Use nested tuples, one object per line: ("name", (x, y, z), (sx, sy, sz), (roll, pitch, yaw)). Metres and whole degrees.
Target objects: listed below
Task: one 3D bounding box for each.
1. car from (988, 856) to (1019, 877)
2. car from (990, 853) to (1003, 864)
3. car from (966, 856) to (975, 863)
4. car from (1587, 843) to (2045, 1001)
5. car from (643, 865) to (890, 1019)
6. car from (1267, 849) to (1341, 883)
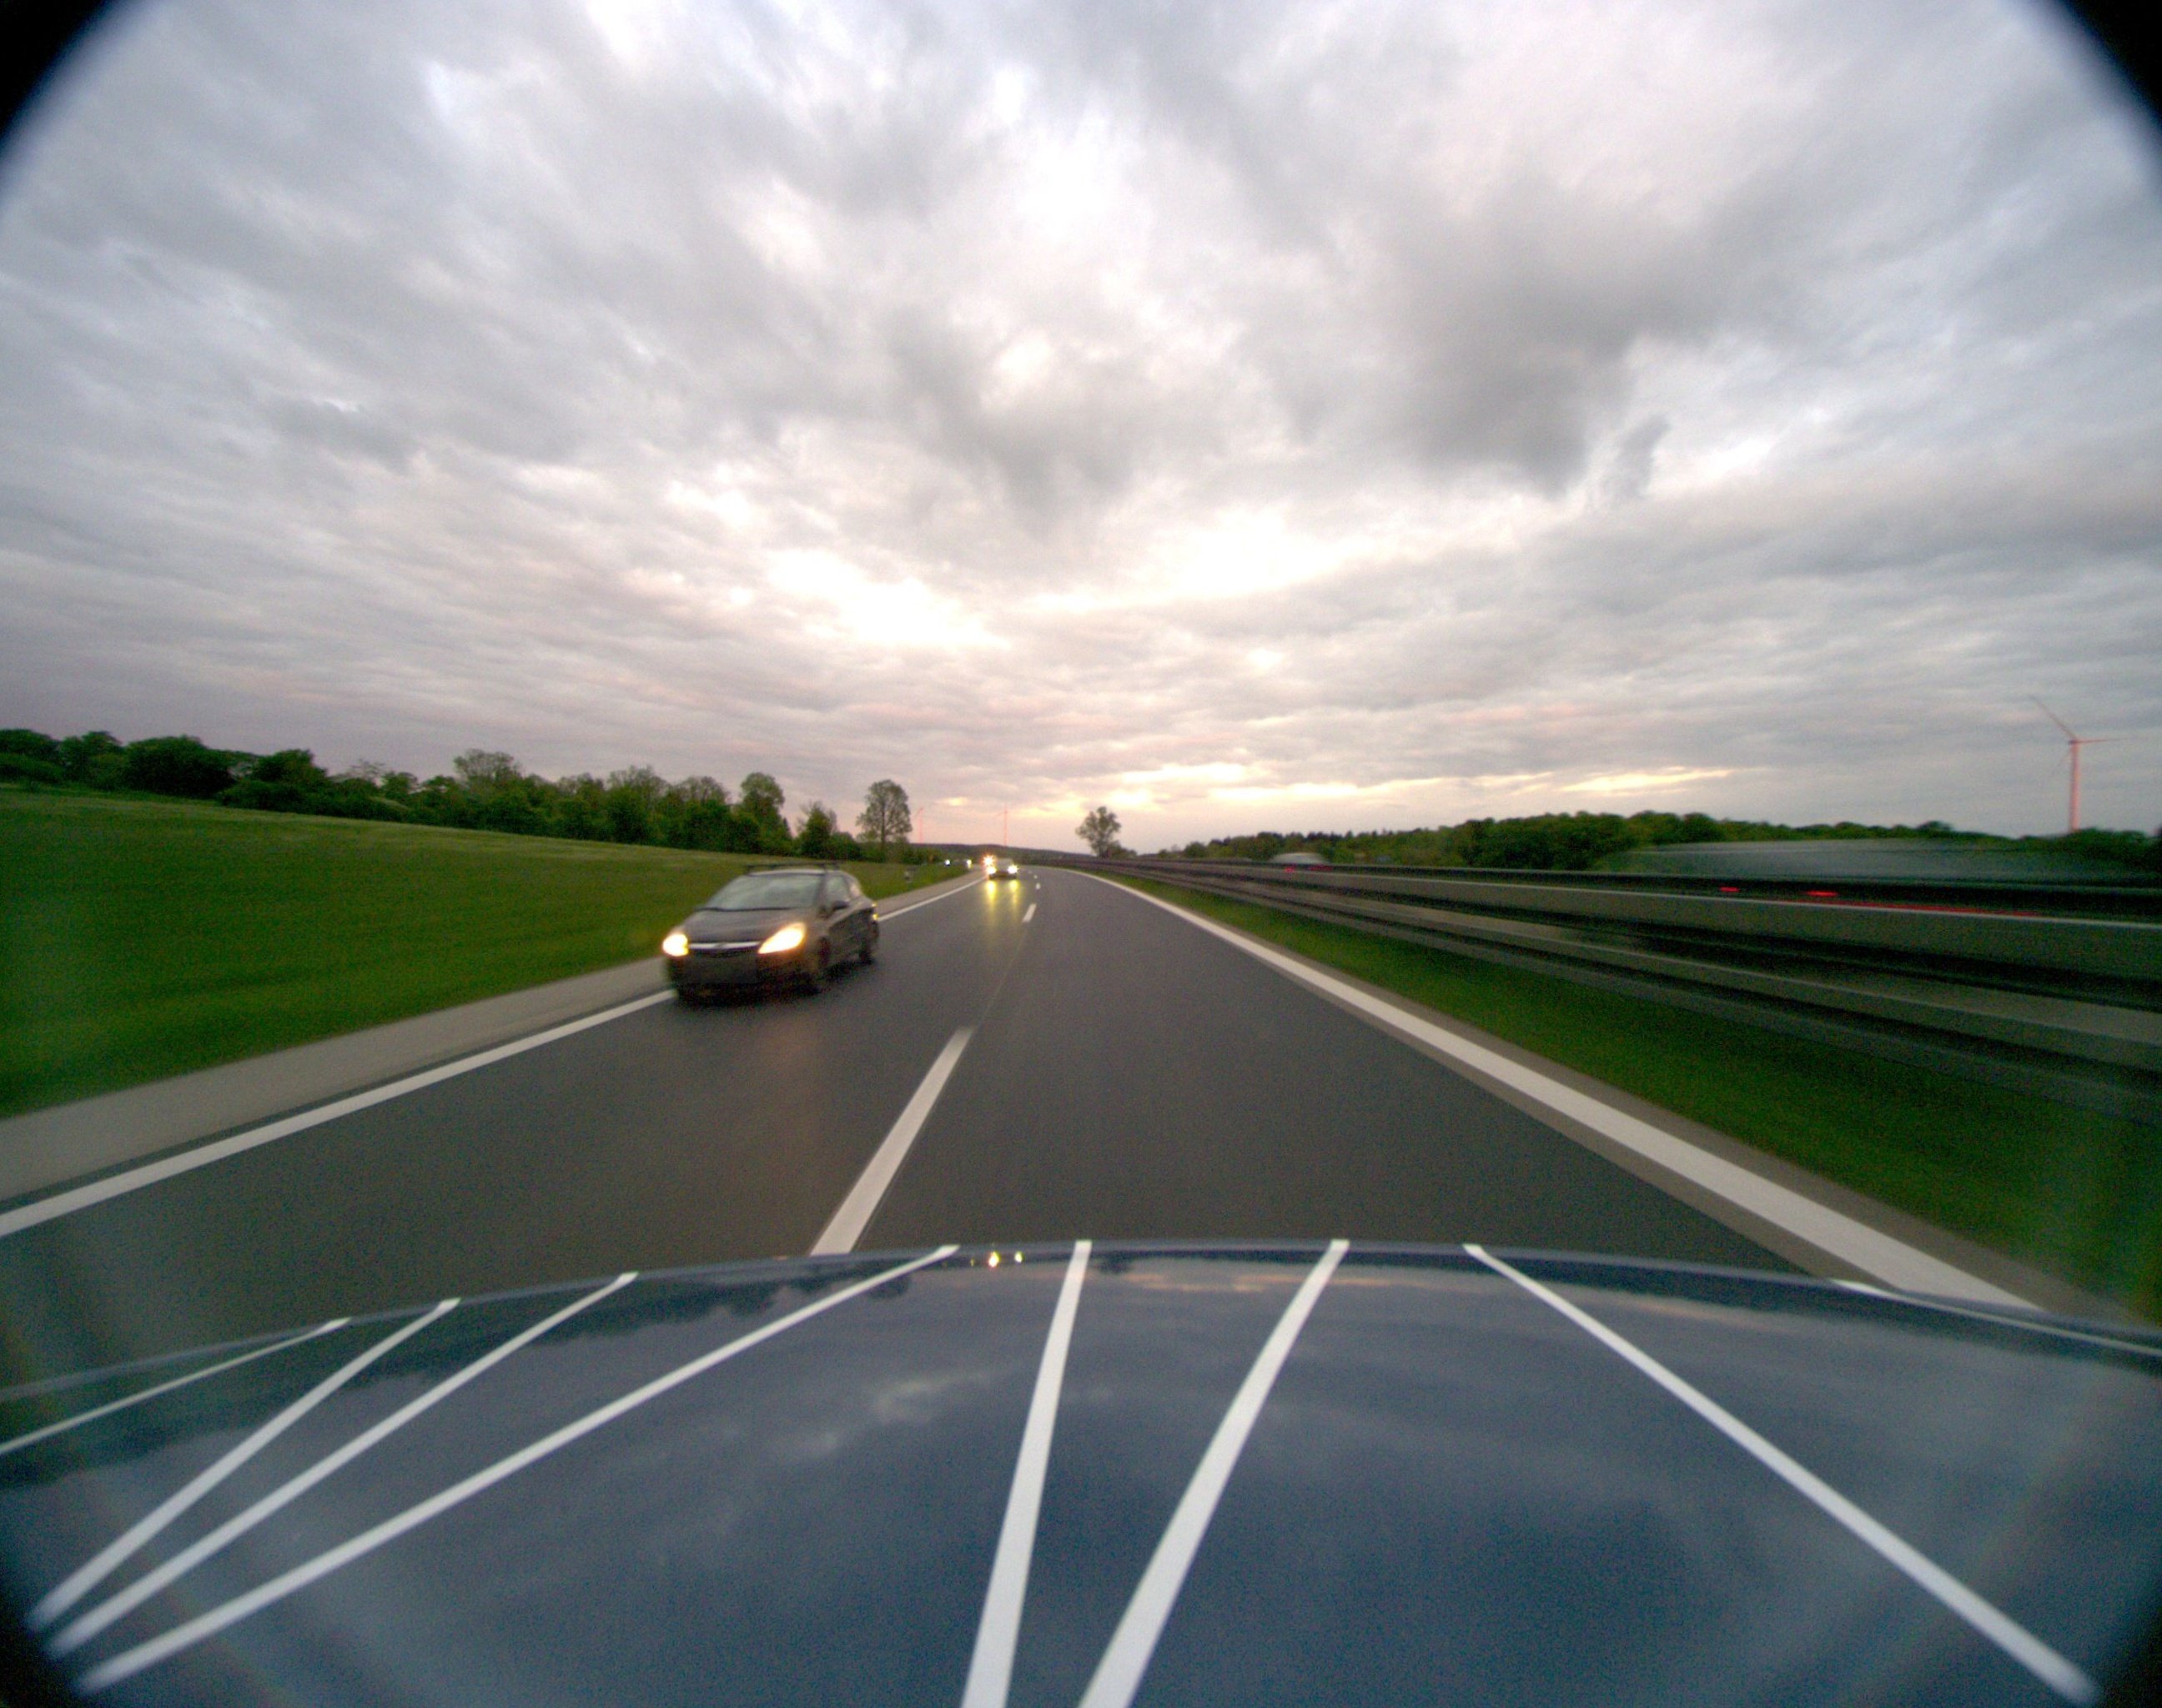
("car", (-5.418, 0.839, 53.511), (1.884, 1.388, 3.999), (0, 0, -1))
("car", (-14.827, 0.749, 132.875), (1.921, 1.827, 3.996), (0, 0, -10))
("car", (-28.989, 1.390, 199.234), (1.805, 1.635, 4.087), (-1, 1, -19))
("car", (8.881, 0.673, 9.872), (1.636, 1.546, 4.469), (-2, 0, 1))
("car", (-3.859, 0.970, 10.124), (1.682, 1.504, 3.999), (-2, 0, -2))
("car", (10.374, 0.515, 35.746), (1.921, 1.501, 4.728), (0, 0, -2))
